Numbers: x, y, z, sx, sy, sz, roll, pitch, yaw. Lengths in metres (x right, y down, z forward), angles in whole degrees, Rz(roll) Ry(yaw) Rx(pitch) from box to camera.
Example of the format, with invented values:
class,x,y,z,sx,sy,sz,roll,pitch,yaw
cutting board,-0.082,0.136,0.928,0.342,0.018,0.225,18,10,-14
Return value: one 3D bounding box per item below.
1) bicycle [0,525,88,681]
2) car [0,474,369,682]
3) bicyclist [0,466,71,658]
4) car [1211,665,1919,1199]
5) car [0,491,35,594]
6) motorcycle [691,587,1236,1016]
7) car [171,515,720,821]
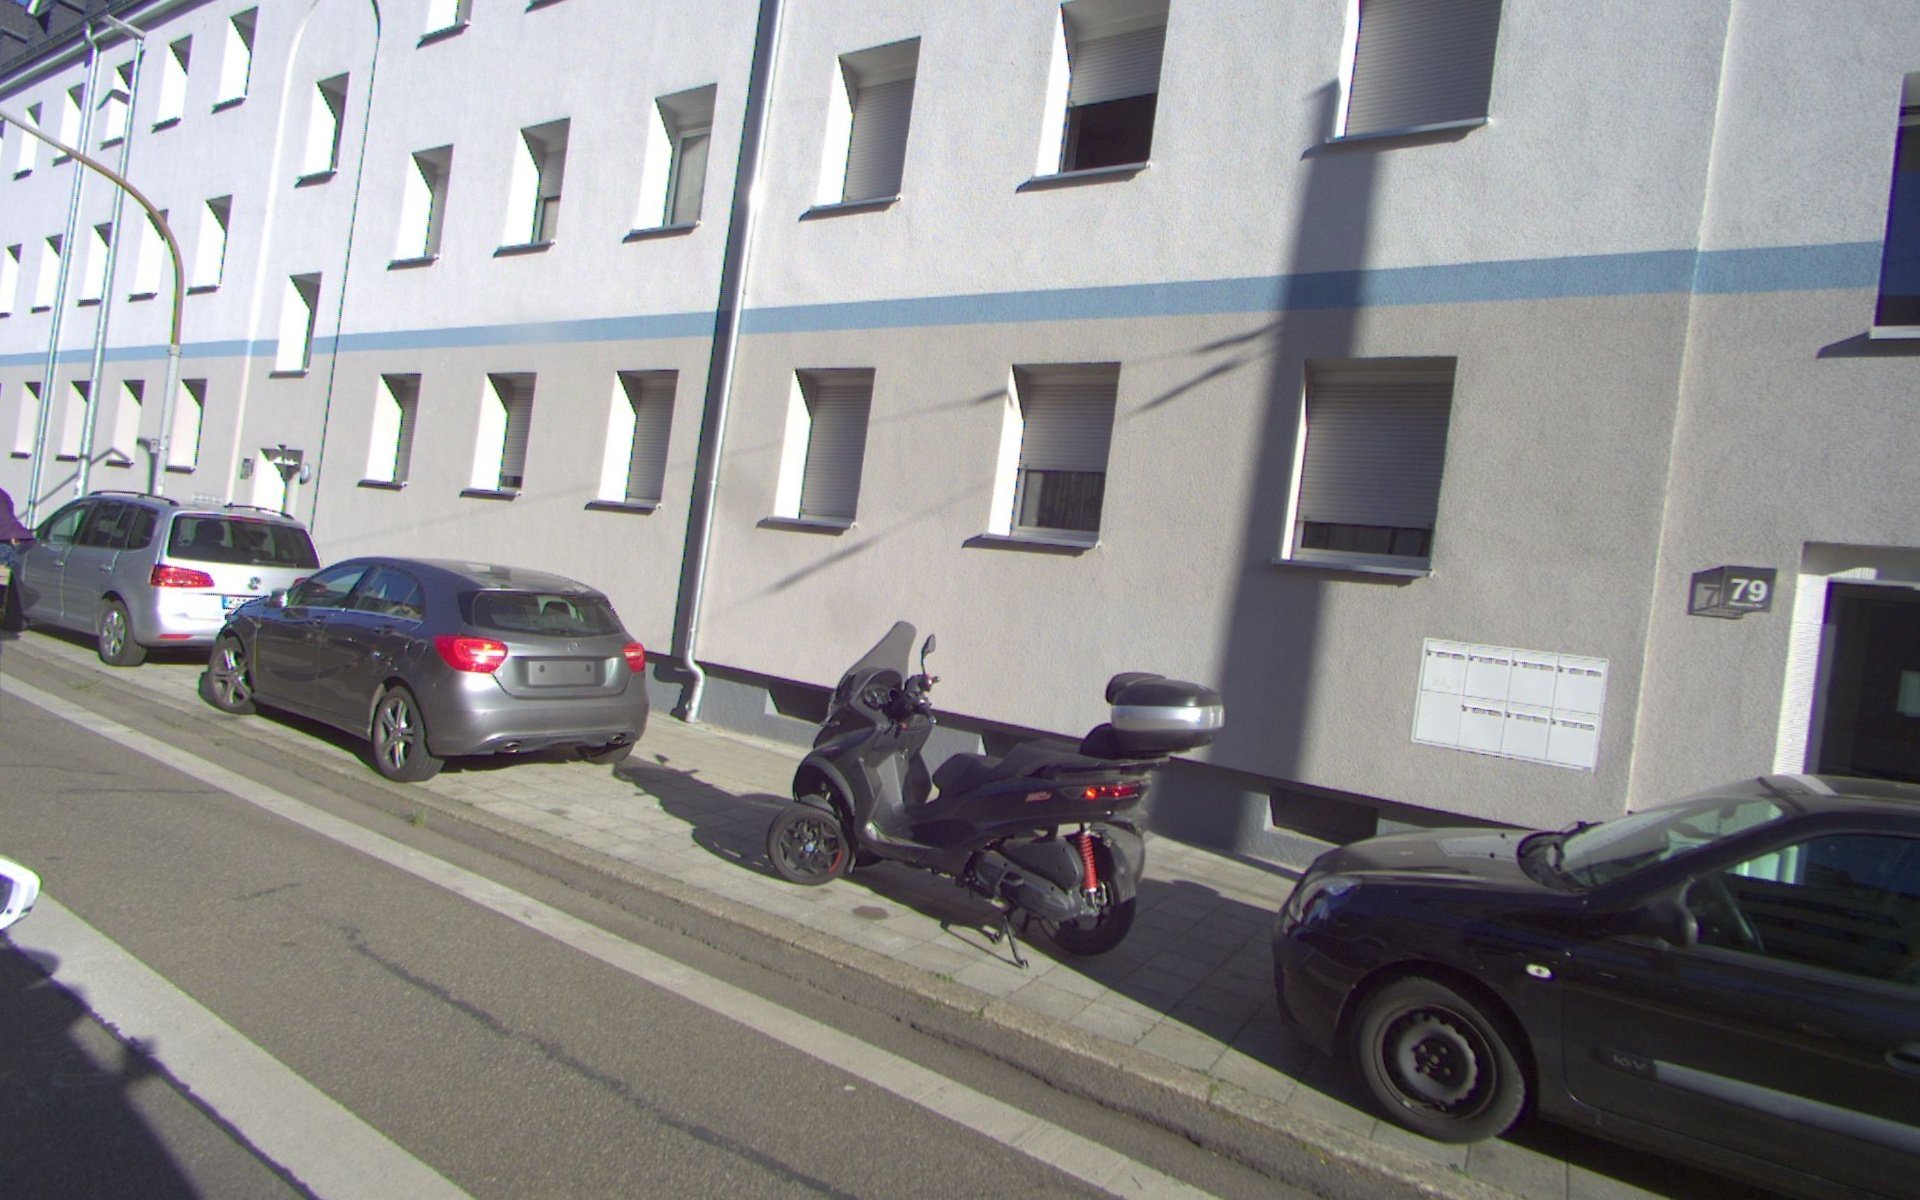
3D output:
class,x,y,z,sx,sy,sz,roll,pitch,yaw
bicycle,-9.128,-0.075,9.260,2.421,1.250,0.823,7,-2,31
car,-8.699,-0.298,10.940,4.546,1.686,1.757,7,1,29
bicyclist,-8.987,-0.395,9.166,0.953,1.696,0.936,7,0,31
car,3.049,1.285,3.360,3.840,1.591,1.610,7,1,33
car,-15.925,-1.067,15.376,4.131,1.449,1.514,7,2,31
motorcycle,-0.080,0.861,5.243,2.663,1.541,0.806,7,2,31
car,-4.156,0.369,7.913,4.295,1.574,1.865,7,1,33
